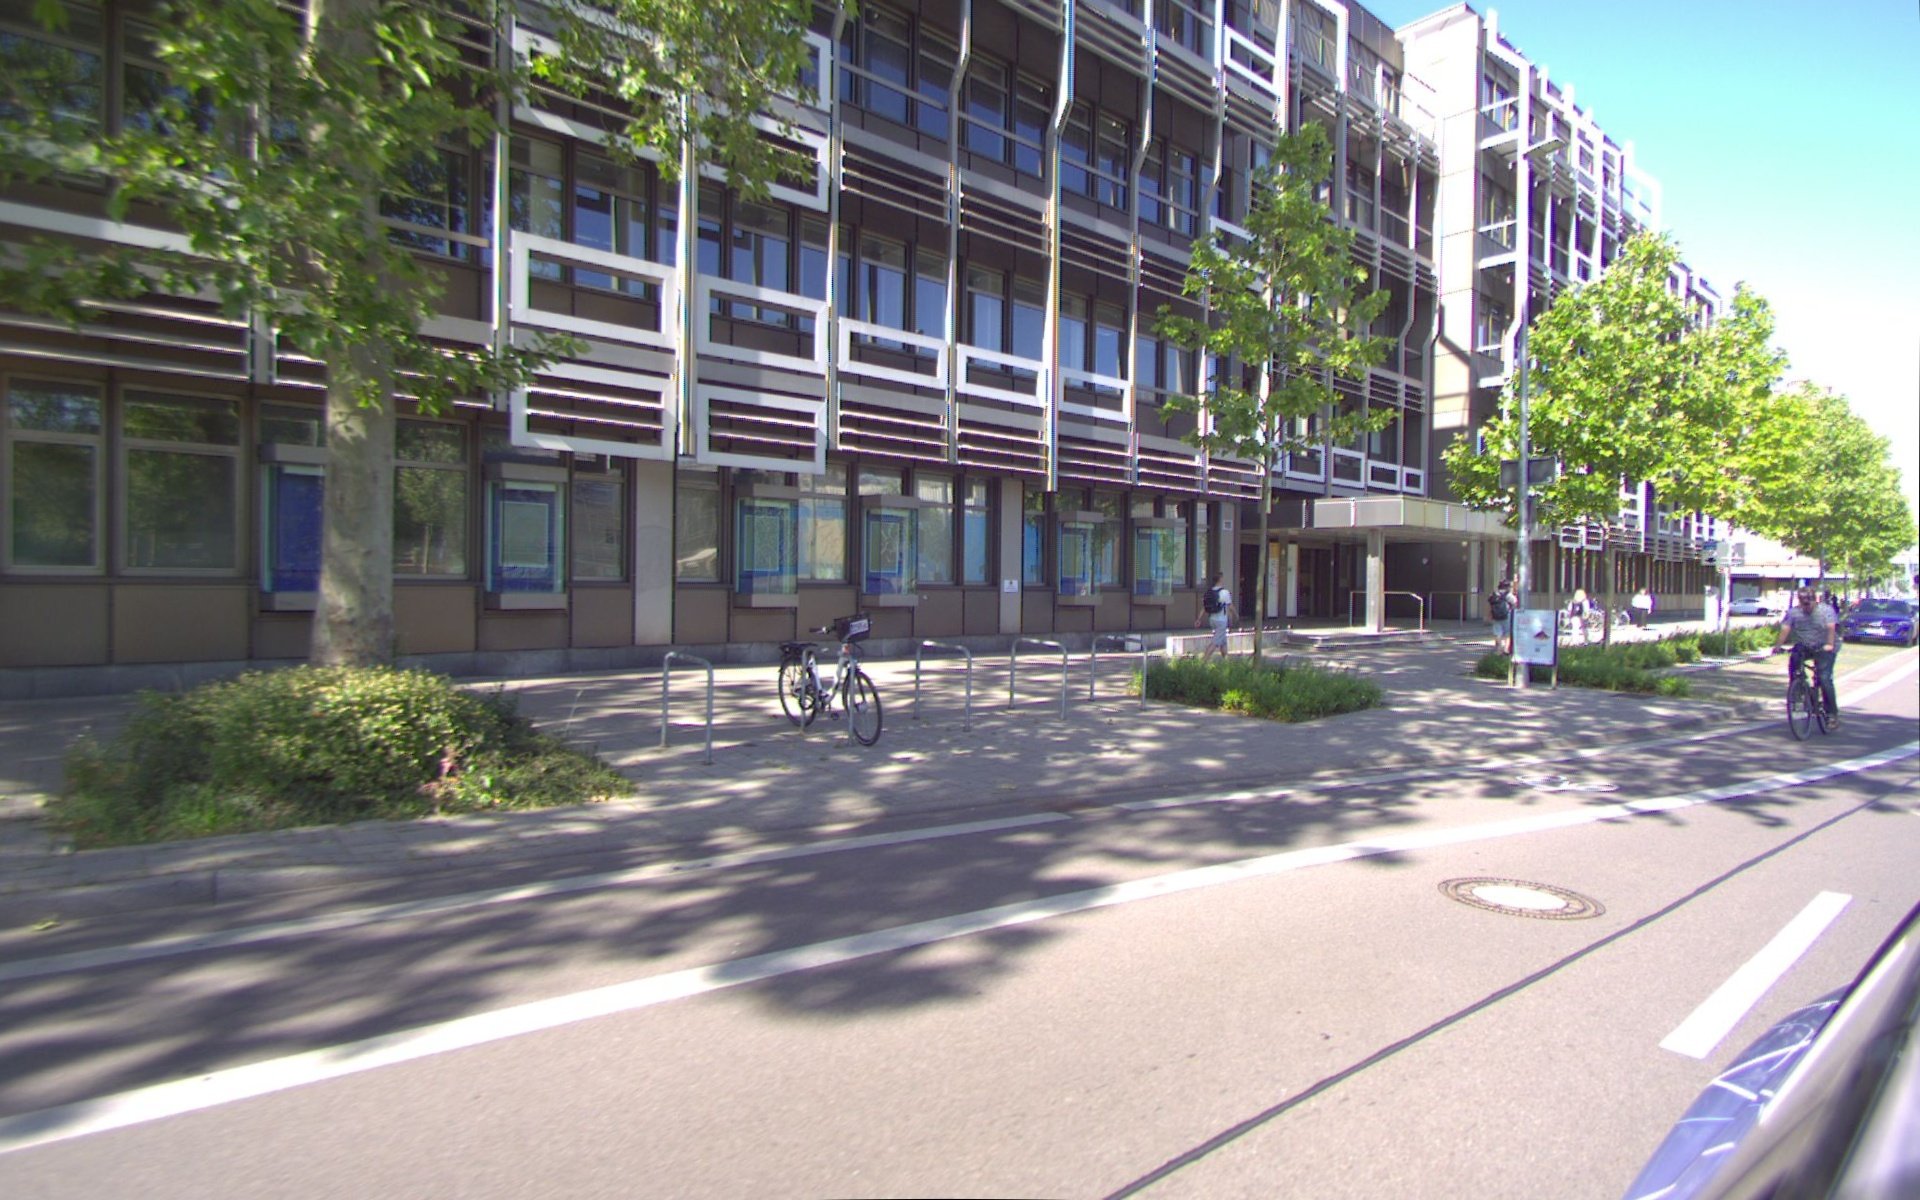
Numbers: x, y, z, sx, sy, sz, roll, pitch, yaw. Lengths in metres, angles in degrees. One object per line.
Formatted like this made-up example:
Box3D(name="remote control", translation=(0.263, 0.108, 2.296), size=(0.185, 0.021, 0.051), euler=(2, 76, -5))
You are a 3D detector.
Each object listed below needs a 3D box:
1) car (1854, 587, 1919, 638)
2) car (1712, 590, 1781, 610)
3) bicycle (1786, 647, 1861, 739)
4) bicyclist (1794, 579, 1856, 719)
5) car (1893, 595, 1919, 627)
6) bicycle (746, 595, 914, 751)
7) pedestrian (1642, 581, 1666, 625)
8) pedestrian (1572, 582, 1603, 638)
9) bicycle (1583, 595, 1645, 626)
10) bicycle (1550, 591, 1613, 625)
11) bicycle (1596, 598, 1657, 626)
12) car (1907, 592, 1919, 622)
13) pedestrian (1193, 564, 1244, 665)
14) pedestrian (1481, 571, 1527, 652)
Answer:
Box3D(name="car", translation=(33.921, 0.420, 36.629), size=(4.767, 1.677, 1.852), euler=(0, 2, -43))
Box3D(name="car", translation=(65.186, -0.029, 83.959), size=(4.378, 1.563, 1.831), euler=(1, 1, 34))
Box3D(name="bicycle", translation=(10.312, 1.065, 12.057), size=(0.498, 0.917, 2.161), euler=(-2, -1, 45))
Box3D(name="bicyclist", translation=(10.372, 0.563, 12.138), size=(0.528, 1.621, 0.513), euler=(0, 0, -45))
Box3D(name="car", translation=(46.880, 0.509, 49.535), size=(1.619, 1.483, 4.088), euler=(3, 2, 45))
Box3D(name="bicycle", translation=(-1.309, 0.637, 9.809), size=(0.569, 1.252, 1.940), euler=(0, 3, -42))
Box3D(name="pedestrian", translation=(26.645, 0.113, 38.859), size=(0.662, 1.642, 0.512), euler=(0, 3, -41))
Box3D(name="pedestrian", translation=(17.059, 0.275, 27.518), size=(0.723, 1.493, 0.512), euler=(0, 0, -41))
Box3D(name="bicycle", translation=(24.100, 0.382, 37.326), size=(0.419, 1.023, 1.863), euler=(0, 3, -38))
Box3D(name="bicycle", translation=(22.518, 0.292, 36.690), size=(0.419, 1.111, 1.863), euler=(0, 3, -38))
Box3D(name="bicycle", translation=(25.003, 0.440, 37.998), size=(0.419, 0.950, 1.863), euler=(0, 3, -38))
Box3D(name="car", translation=(55.280, 0.388, 57.774), size=(1.747, 1.679, 4.400), euler=(1, 1, 43))
Box3D(name="pedestrian", translation=(4.549, 0.243, 17.809), size=(0.760, 1.722, 0.512), euler=(0, 0, -41))
Box3D(name="pedestrian", translation=(11.946, 0.240, 22.233), size=(0.789, 1.750, 0.648), euler=(0, 0, -41))
